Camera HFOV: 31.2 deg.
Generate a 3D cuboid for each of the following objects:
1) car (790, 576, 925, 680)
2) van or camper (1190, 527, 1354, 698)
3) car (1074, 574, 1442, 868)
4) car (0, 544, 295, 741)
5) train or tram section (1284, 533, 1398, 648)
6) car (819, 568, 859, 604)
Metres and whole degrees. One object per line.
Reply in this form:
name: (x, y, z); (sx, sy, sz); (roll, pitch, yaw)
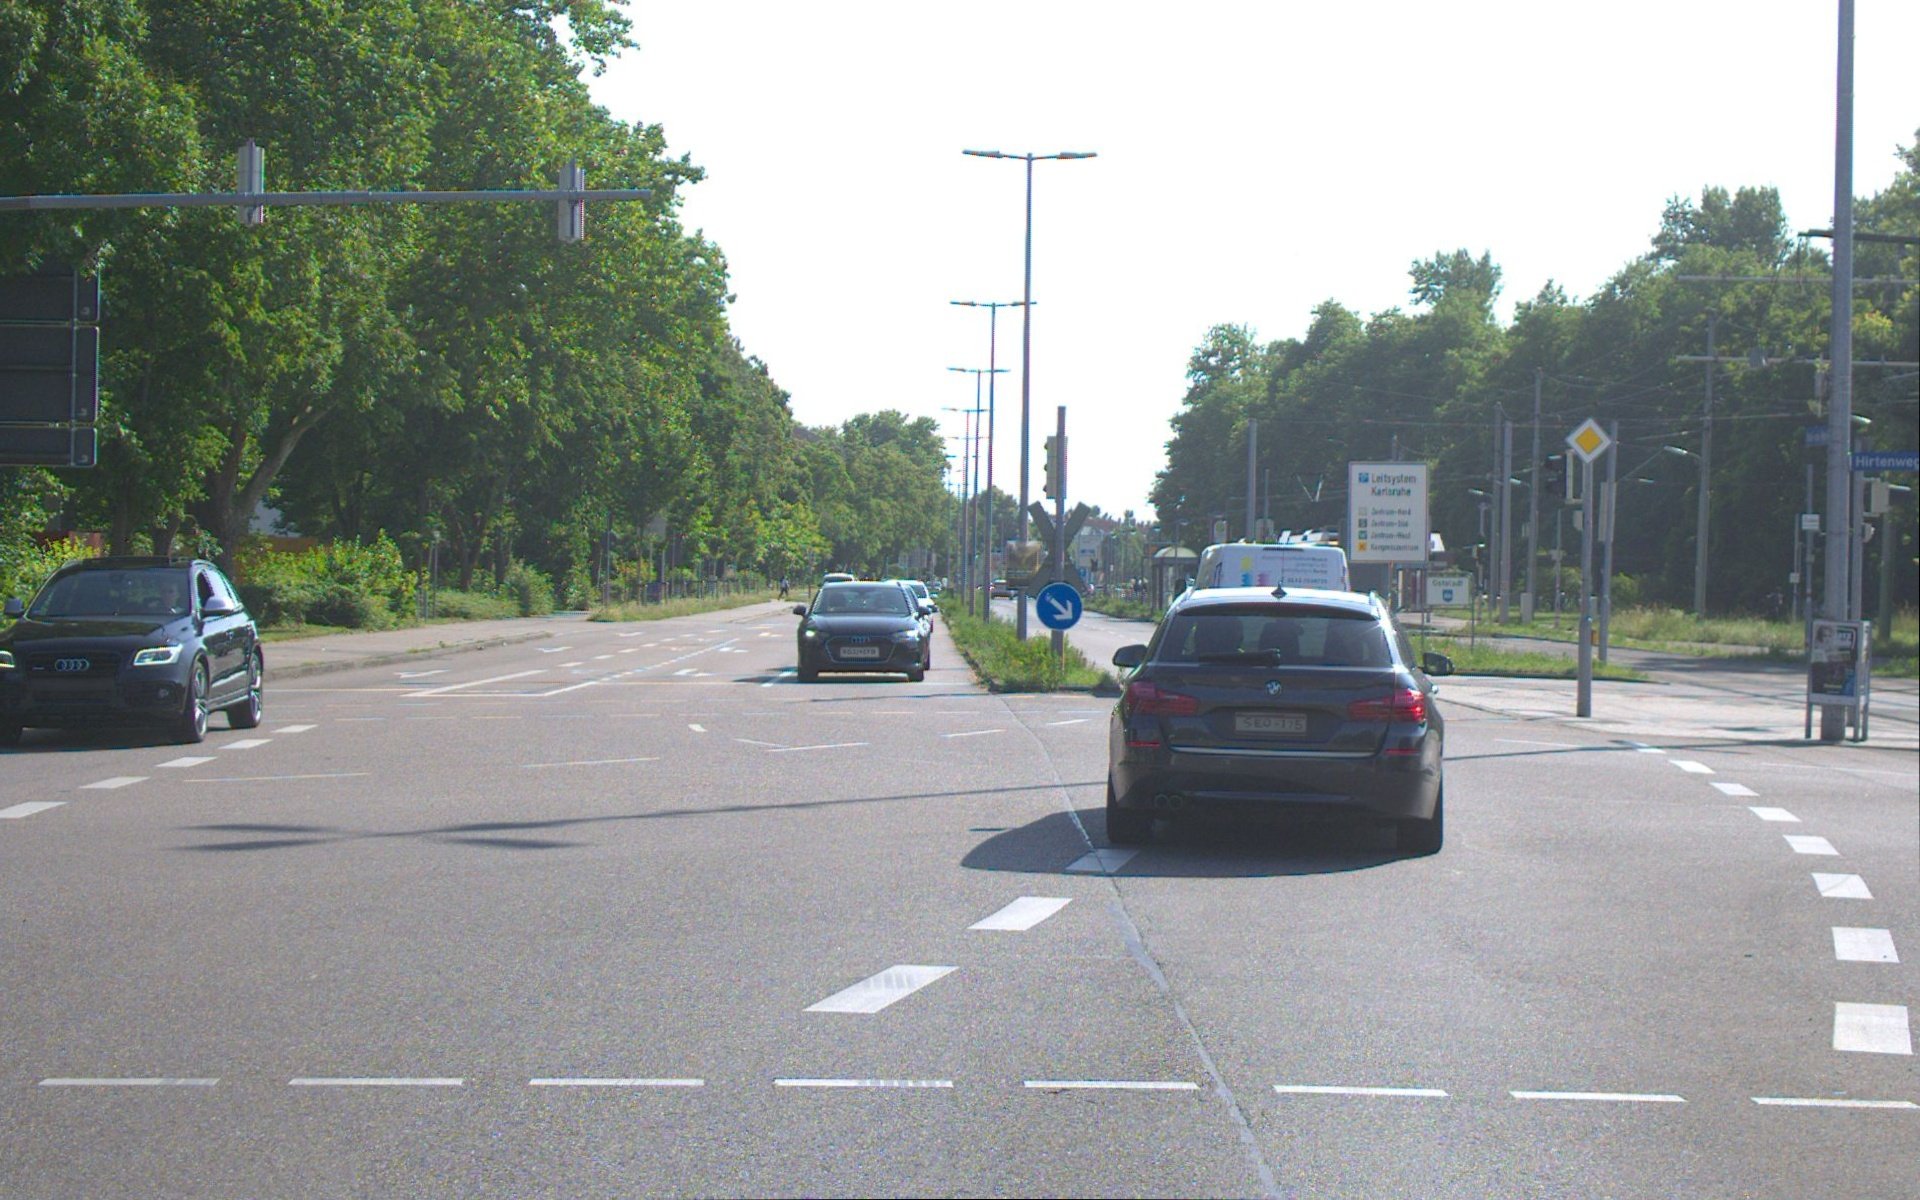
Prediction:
car: (-1.442, 0.369, 50.025); (1.829, 1.426, 4.731); (0, 1, 0)
van or camper: (4.056, 0.134, 45.276); (1.994, 2.089, 4.598); (1, 1, 4)
car: (1.748, 0.621, 20.183); (1.903, 1.500, 4.064); (1, 0, 5)
car: (-7.571, 0.335, 31.375); (1.989, 1.653, 4.384); (1, 1, 2)
train or tram section: (12.958, -0.293, 117.882); (2.796, 3.606, 12.955); (2, 0, 2)
car: (-6.070, -0.700, 173.022); (1.788, 1.766, 4.569); (1, 0, 0)
